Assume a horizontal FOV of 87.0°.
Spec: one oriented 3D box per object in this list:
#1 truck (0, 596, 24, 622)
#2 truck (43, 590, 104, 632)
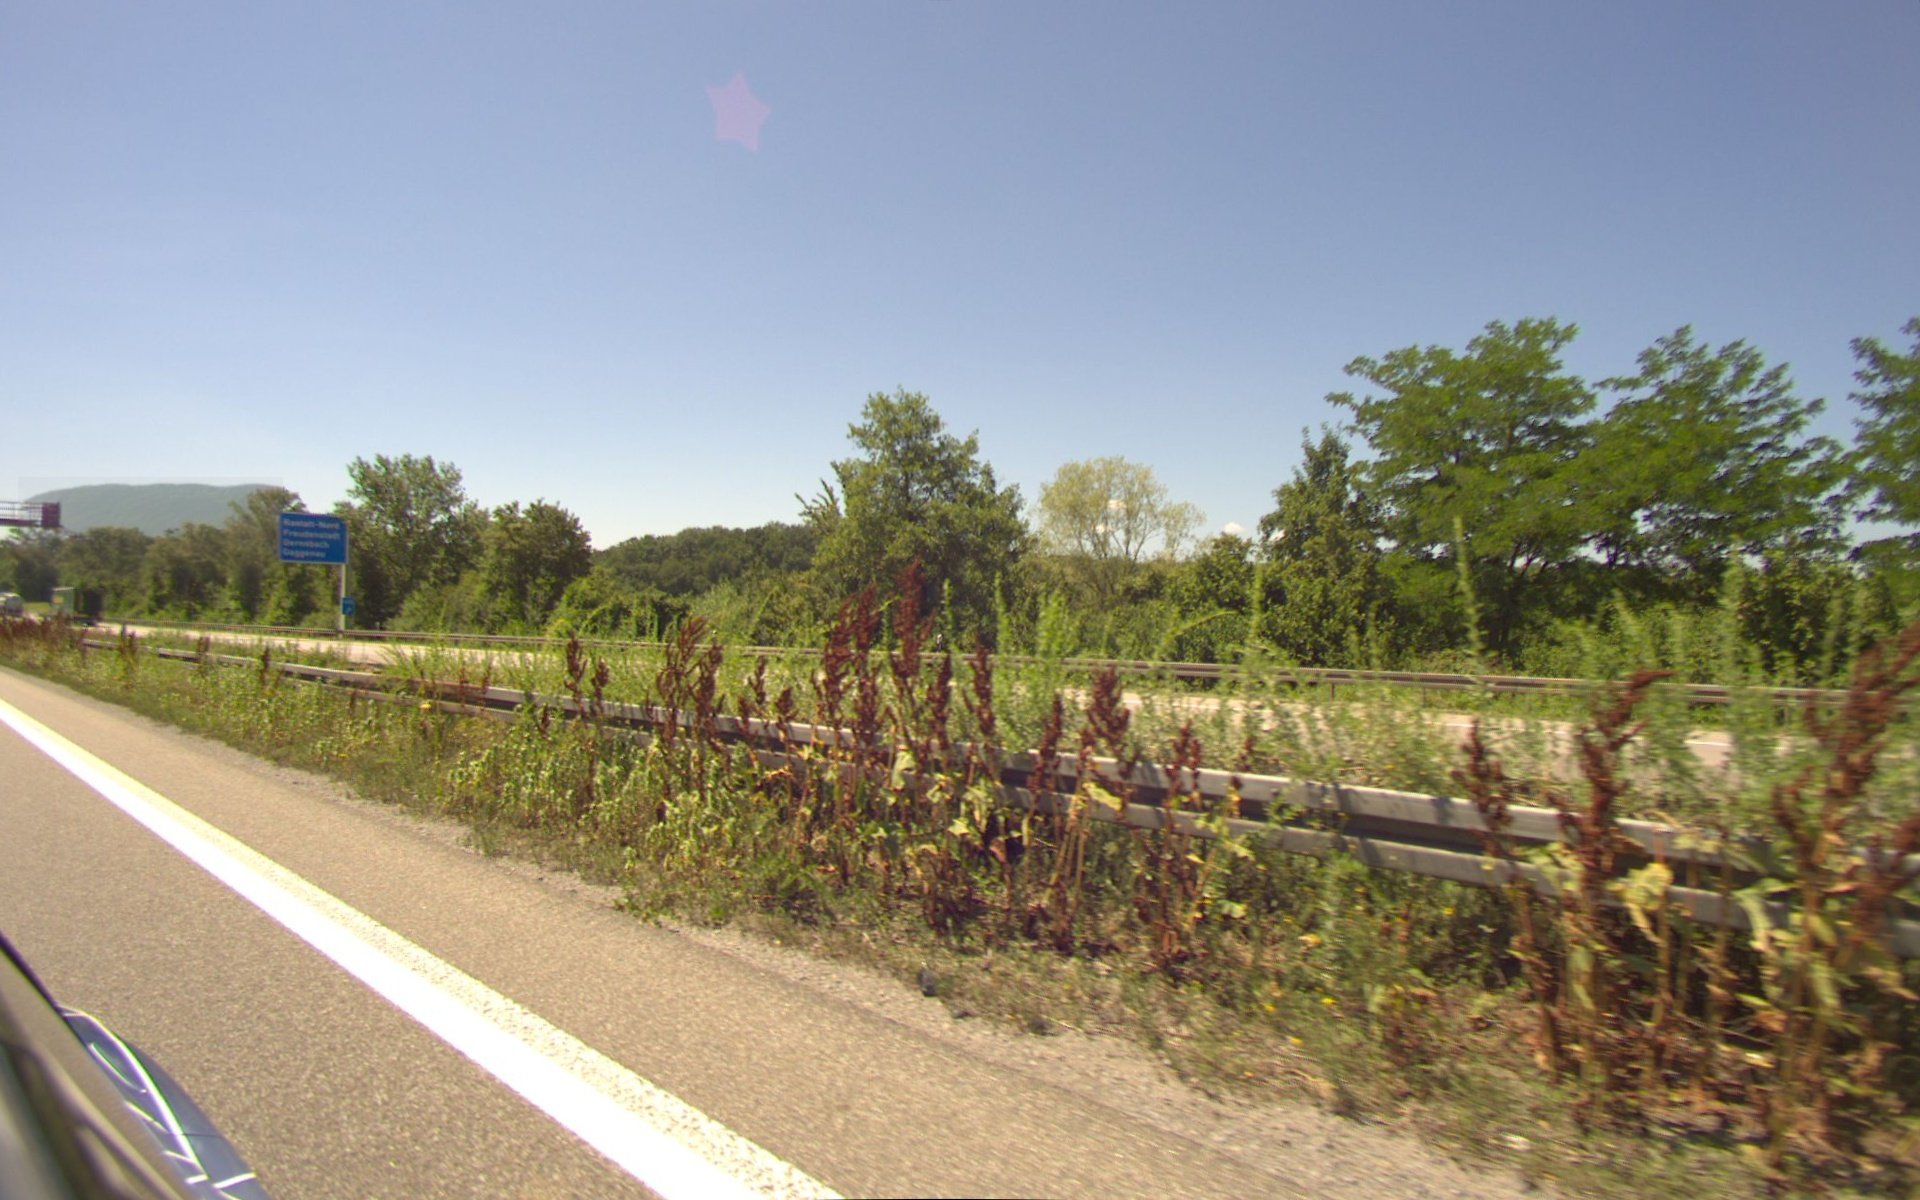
[{"bbox_3d":[-159.618,1.551,169.309,15.816,4.049,2.924,-1,-2,42],"label":"truck"},{"bbox_3d":[-99.250,1.274,113.155,18.236,4.375,2.924,-1,-2,42],"label":"truck"}]
